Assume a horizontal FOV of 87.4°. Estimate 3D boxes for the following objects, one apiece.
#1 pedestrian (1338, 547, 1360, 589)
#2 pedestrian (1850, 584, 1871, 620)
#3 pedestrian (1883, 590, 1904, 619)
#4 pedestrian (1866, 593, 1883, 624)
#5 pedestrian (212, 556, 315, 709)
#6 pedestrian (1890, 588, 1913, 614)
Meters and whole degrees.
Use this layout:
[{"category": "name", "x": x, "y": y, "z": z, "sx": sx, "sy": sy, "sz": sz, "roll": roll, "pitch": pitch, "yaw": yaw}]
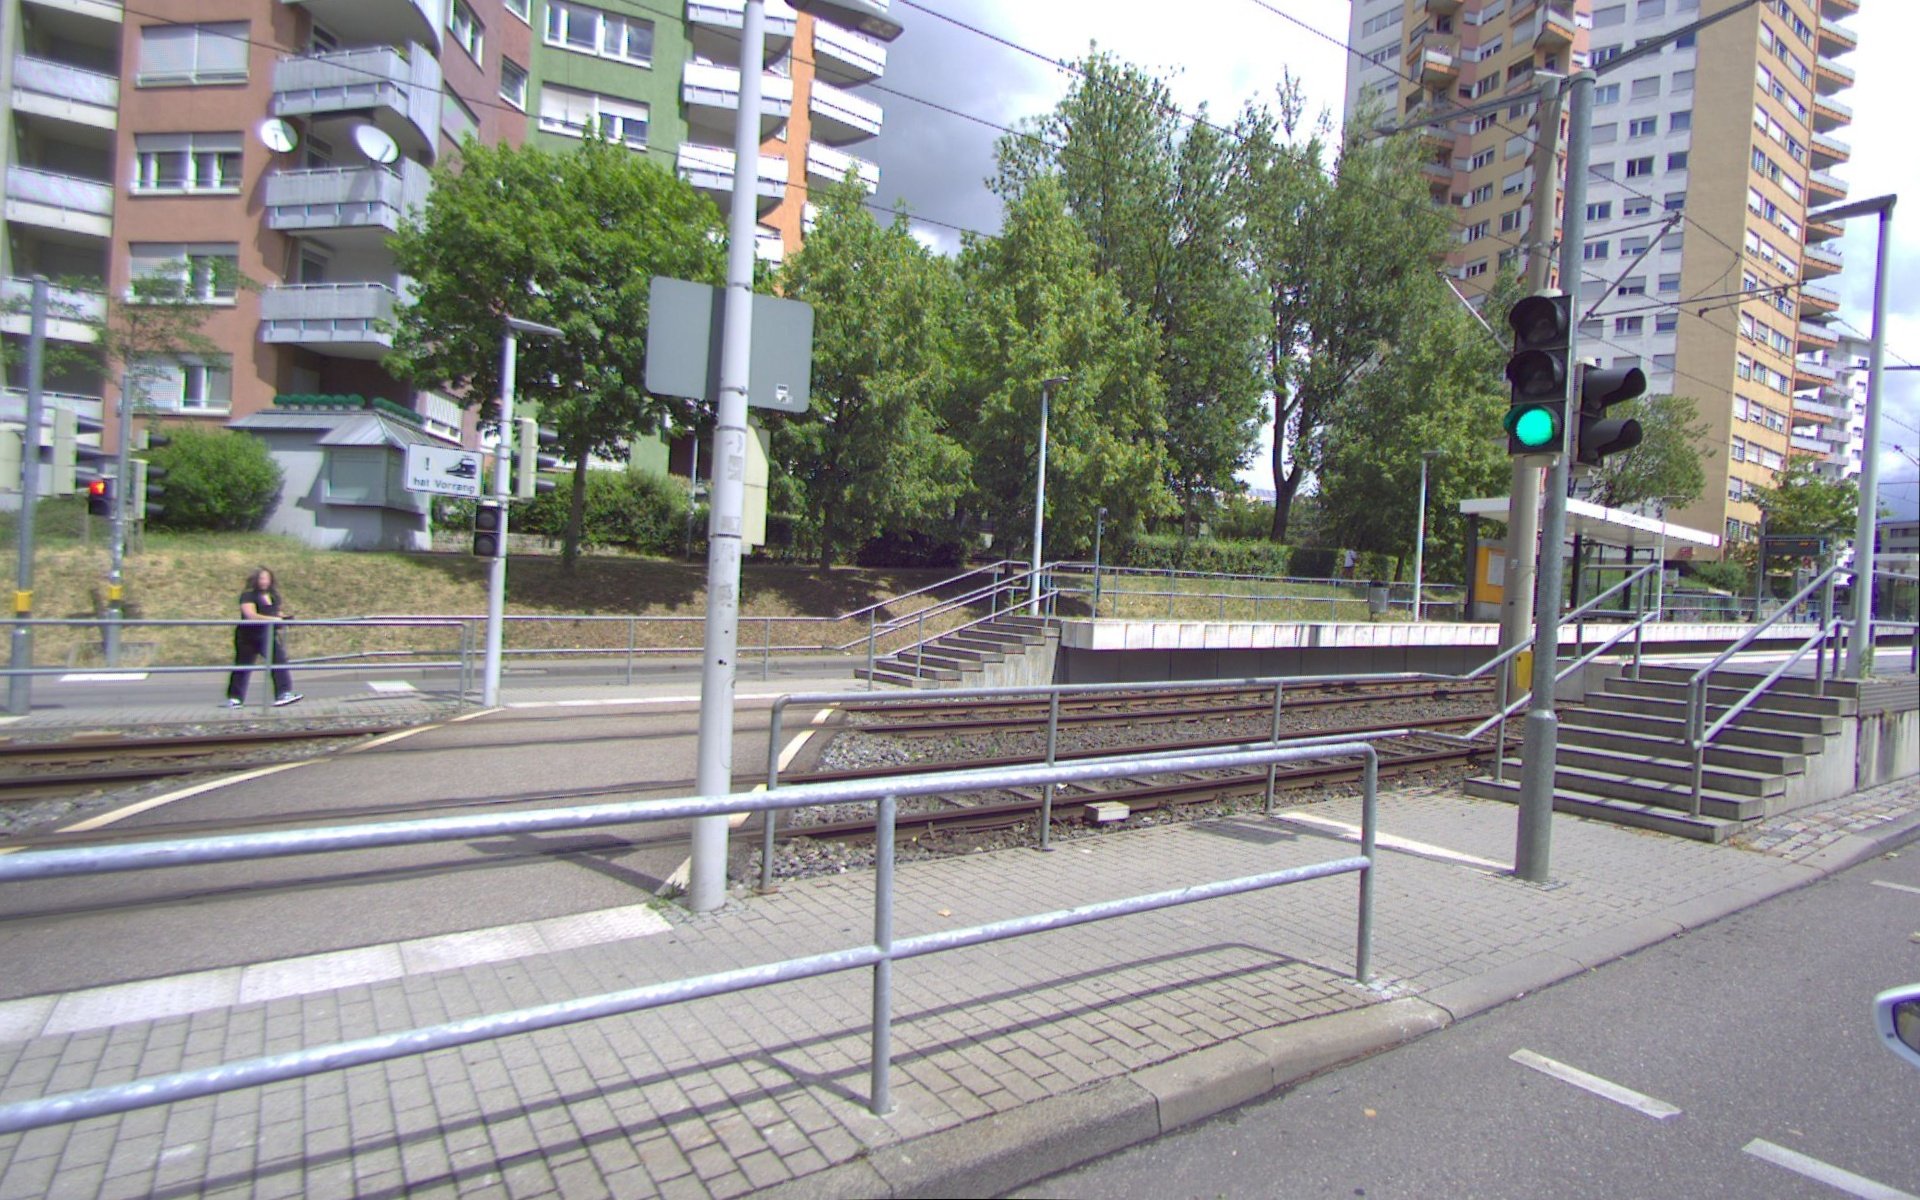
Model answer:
[{"category": "pedestrian", "x": 16.108, "y": -1.323, "z": 41.587, "sx": 0.499, "sy": 1.735, "sz": 0.645, "roll": 1, "pitch": 0, "yaw": -36}, {"category": "pedestrian", "x": 41.564, "y": 0.084, "z": 46.369, "sx": 0.511, "sy": 1.666, "sz": 0.564, "roll": 1, "pitch": 0, "yaw": 21}, {"category": "pedestrian", "x": 45.235, "y": 0.236, "z": 48.659, "sx": 0.502, "sy": 1.387, "sz": 0.639, "roll": 1, "pitch": 0, "yaw": -36}, {"category": "pedestrian", "x": 42.248, "y": 0.375, "z": 46.422, "sx": 0.536, "sy": 1.397, "sz": 0.518, "roll": 1, "pitch": -2, "yaw": 45}, {"category": "pedestrian", "x": -7.541, "y": 0.339, "z": 10.881, "sx": 0.810, "sy": 1.584, "sz": 0.689, "roll": 0, "pitch": 0, "yaw": 35}, {"category": "pedestrian", "x": 45.929, "y": 0.038, "z": 49.007, "sx": 0.513, "sy": 1.253, "sz": 0.737, "roll": 1, "pitch": 0, "yaw": -36}]
